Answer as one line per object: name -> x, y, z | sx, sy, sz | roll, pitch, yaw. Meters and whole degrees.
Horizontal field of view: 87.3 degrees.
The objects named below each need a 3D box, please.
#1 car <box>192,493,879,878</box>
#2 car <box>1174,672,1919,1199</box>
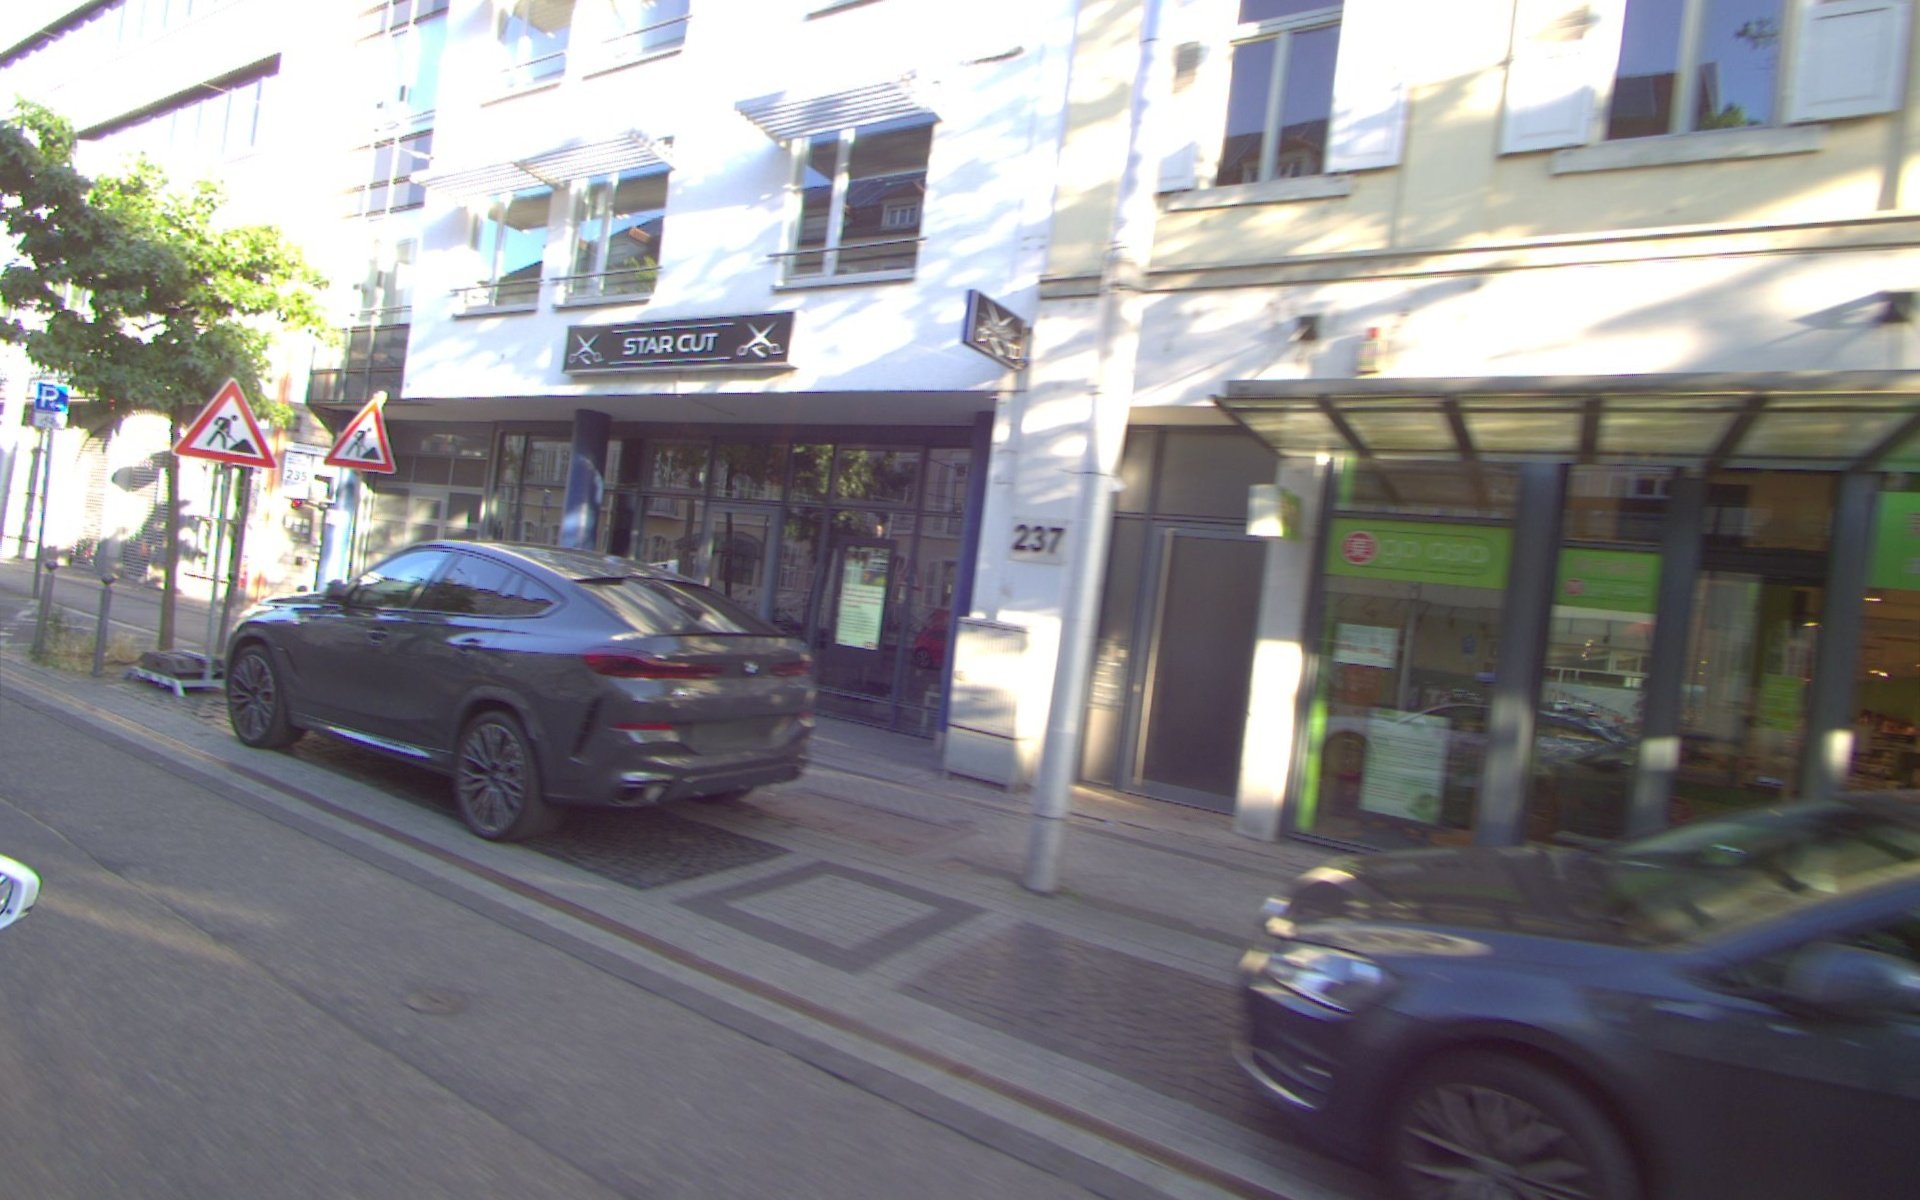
car -> -3.182, 0.392, 7.214 | 4.785, 1.734, 1.997 | 7, -1, 32
car -> 2.888, 1.255, 3.097 | 3.928, 1.455, 1.840 | 7, 2, 25
